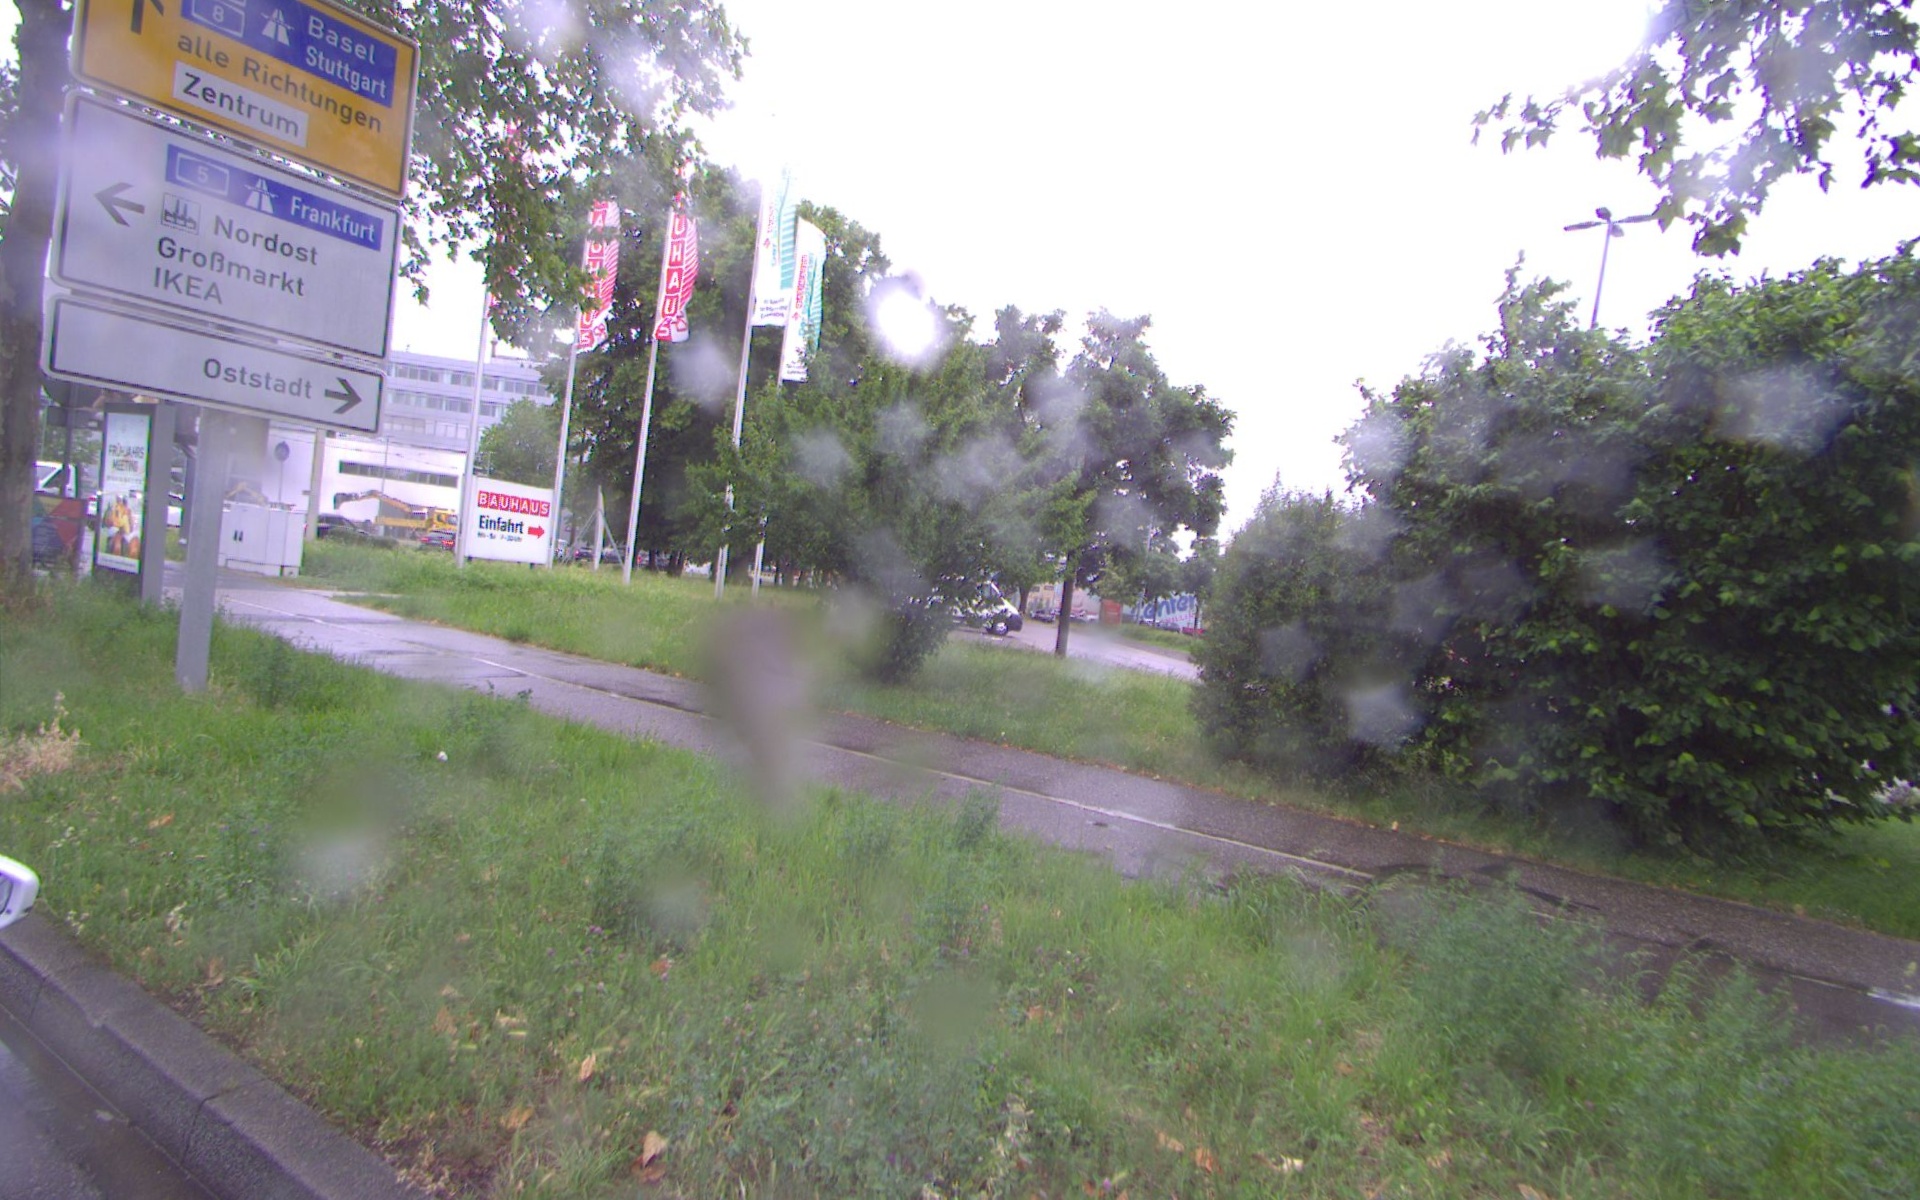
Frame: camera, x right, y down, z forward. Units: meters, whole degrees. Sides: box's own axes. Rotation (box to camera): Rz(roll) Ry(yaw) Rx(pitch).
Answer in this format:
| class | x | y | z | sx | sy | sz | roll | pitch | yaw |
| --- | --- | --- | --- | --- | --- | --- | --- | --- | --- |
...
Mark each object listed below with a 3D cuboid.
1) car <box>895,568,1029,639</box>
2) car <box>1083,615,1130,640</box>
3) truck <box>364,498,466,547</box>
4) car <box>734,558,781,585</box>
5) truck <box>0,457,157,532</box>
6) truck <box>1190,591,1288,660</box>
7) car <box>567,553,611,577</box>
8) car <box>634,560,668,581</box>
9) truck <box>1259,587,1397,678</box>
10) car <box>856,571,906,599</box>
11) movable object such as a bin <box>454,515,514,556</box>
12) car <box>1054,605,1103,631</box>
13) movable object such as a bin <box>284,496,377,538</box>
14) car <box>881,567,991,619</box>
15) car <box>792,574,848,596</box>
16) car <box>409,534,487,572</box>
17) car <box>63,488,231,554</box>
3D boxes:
| class | x | y | z | sx | sy | sz | roll | pitch | yaw |
| --- | --- | --- | --- | --- | --- | --- | --- | --- | --- |
| car | 0.032 | 0.130 | 40.927 | 5.015 | 2.232 | 2.188 | 7 | 1 | -9 |
| car | 15.619 | 2.921 | 107.456 | 4.612 | 2.038 | 2.001 | 7 | 0 | 3 |
| truck | -52.667 | -7.451 | 97.343 | 7.747 | 3.552 | 3.325 | 7 | 1 | -4 |
| car | -20.274 | -2.826 | 100.806 | 4.222 | 2.075 | 1.757 | 8 | 0 | -18 |
| truck | -38.090 | -4.436 | 42.884 | 2.438 | 2.394 | 6.861 | 7 | 0 | -4 |
| truck | 16.511 | 1.435 | 60.361 | 2.507 | 3.511 | 9.397 | 8 | 0 | -2 |
| car | -29.546 | -2.757 | 80.274 | 1.892 | 1.606 | 4.623 | 6 | 0 | -4 |
| car | -29.159 | -2.766 | 94.965 | 1.892 | 1.606 | 4.623 | 6 | 0 | -4 |
| truck | 16.709 | 1.331 | 46.412 | 2.508 | 3.513 | 8.008 | 8 | 1 | -4 |
| car | -7.849 | -1.458 | 100.601 | 4.670 | 2.241 | 1.964 | 6 | 1 | -2 |
| movable object such as a bin | -50.174 | -6.736 | 106.162 | 3.268 | 3.552 | 6.316 | 6 | 1 | -3 |
| car | 11.939 | 1.840 | 101.743 | 4.612 | 2.038 | 2.001 | 7 | 0 | 3 |
| movable object such as a bin | -60.582 | -7.937 | 97.020 | 6.601 | 3.034 | 3.324 | 7 | 1 | -4 |
| car | -1.385 | -0.414 | 57.652 | 5.955 | 2.232 | 2.190 | 7 | 1 | -2 |
| car | -15.409 | -1.598 | 111.078 | 5.853 | 1.754 | 2.276 | 6 | 1 | -3 |
| car | -27.363 | -2.482 | 53.933 | 1.892 | 1.606 | 4.623 | 6 | 0 | -4 |
| car | -26.840 | -2.547 | 33.448 | 1.892 | 1.605 | 4.623 | 6 | 0 | -3 |
